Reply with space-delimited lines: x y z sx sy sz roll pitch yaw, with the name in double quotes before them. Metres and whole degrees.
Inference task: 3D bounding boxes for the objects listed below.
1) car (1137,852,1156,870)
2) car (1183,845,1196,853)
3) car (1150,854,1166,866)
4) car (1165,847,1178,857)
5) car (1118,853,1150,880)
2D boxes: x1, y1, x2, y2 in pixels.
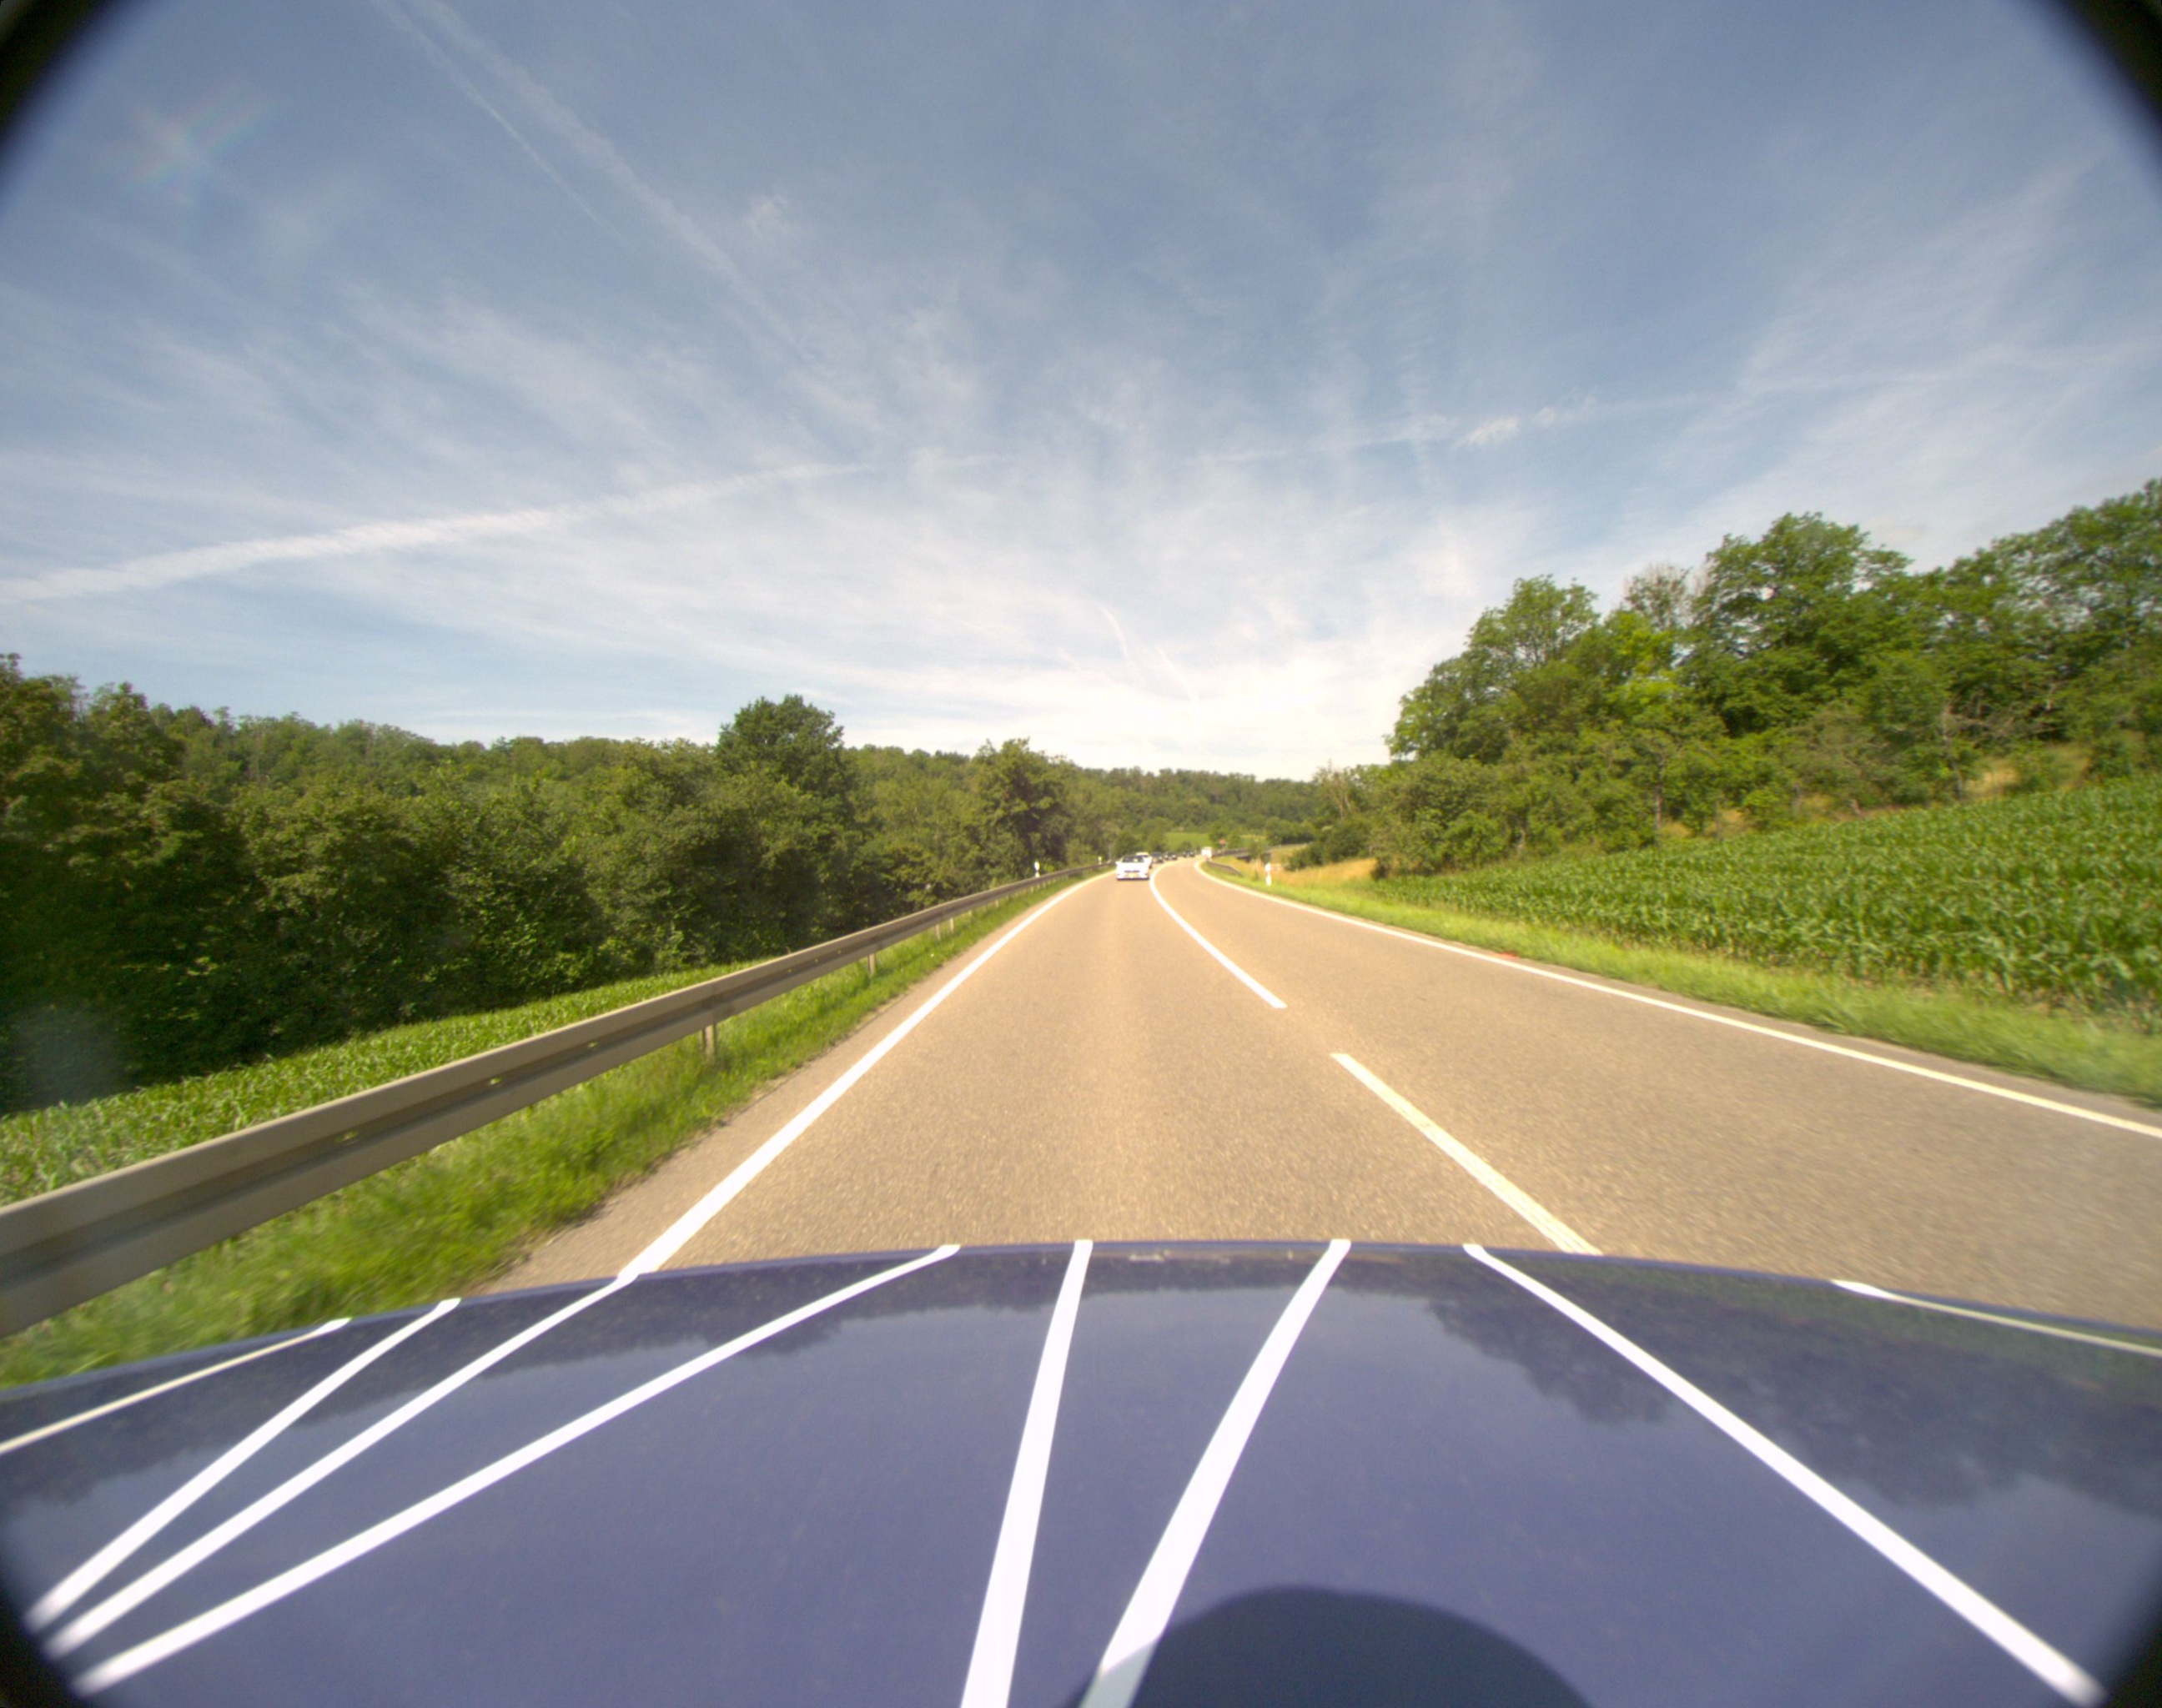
"car" 6.360 0.669 73.452 1.716 1.523 4.001 -2 1 6
"car" 21.900 -0.980 153.525 1.740 1.445 4.041 -1 1 19
"car" 10.186 0.748 100.133 1.741 1.445 4.038 -1 1 11
"car" 14.804 -0.317 124.109 1.741 1.445 4.038 -1 1 11
"car" 3.081 0.689 44.685 1.742 1.445 4.036 -2 1 4
